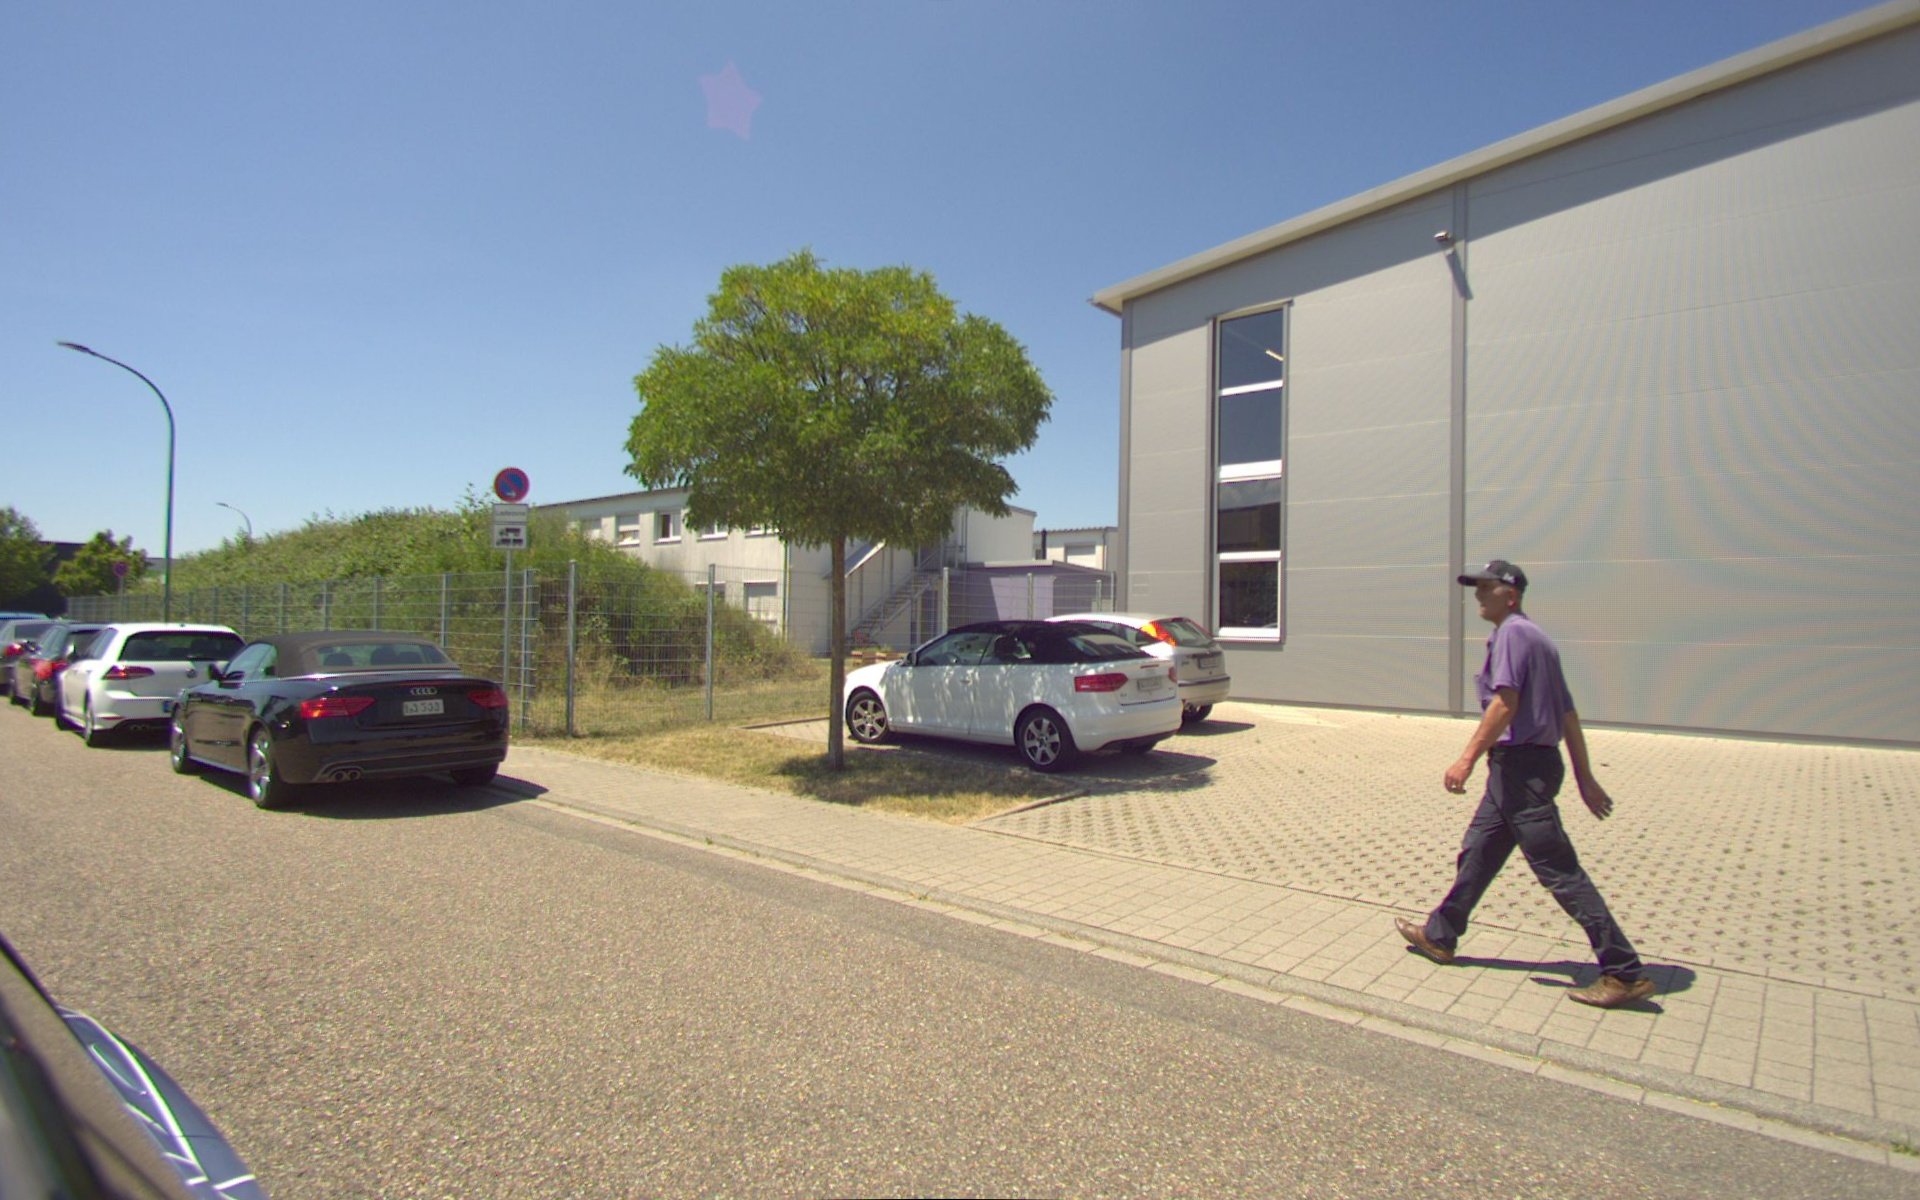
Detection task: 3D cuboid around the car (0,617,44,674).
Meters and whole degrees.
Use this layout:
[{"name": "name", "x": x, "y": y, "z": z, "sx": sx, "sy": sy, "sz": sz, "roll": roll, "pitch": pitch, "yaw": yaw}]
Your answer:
[{"name": "car", "x": -26.643, "y": 1.190, "z": 27.617, "sx": 4.577, "sy": 1.466, "sz": 1.805, "roll": -1, "pitch": -3, "yaw": 40}]

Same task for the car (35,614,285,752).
[{"name": "car", "x": -10.505, "y": 0.966, "z": 13.171, "sx": 4.257, "sy": 1.511, "sz": 1.805, "roll": -1, "pitch": -3, "yaw": 42}]

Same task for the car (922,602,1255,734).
[{"name": "car", "x": 1.621, "y": 0.807, "z": 13.771, "sx": 4.259, "sy": 1.511, "sz": 1.804, "roll": -1, "pitch": 0, "yaw": 43}]

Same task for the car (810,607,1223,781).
[{"name": "car", "x": 0.450, "y": 0.845, "z": 10.940, "sx": 4.328, "sy": 1.511, "sz": 1.804, "roll": -1, "pitch": -1, "yaw": 43}]

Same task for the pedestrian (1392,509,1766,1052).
[{"name": "pedestrian", "x": 2.454, "y": 0.607, "z": 4.049, "sx": 1.135, "sy": 1.815, "sz": 0.736, "roll": -1, "pitch": -1, "yaw": 43}]

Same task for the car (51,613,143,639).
[{"name": "car", "x": -54.918, "y": 1.666, "z": 64.490, "sx": 1.779, "sy": 1.613, "sz": 4.225, "roll": 0, "pitch": -1, "yaw": 40}]

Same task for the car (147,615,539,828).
[{"name": "car", "x": -5.884, "y": 0.924, "z": 9.406, "sx": 4.524, "sy": 1.511, "sz": 1.805, "roll": -1, "pitch": -3, "yaw": 41}]

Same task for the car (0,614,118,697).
[{"name": "car", "x": -18.709, "y": 1.074, "z": 20.531, "sx": 4.518, "sy": 1.511, "sz": 1.805, "roll": -1, "pitch": -3, "yaw": 42}]

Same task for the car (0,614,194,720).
[{"name": "car", "x": -14.266, "y": 1.010, "z": 16.632, "sx": 4.518, "sy": 1.511, "sz": 1.805, "roll": -1, "pitch": -3, "yaw": 42}]

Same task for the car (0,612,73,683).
[{"name": "car", "x": -22.794, "y": 1.091, "z": 24.134, "sx": 4.383, "sy": 1.582, "sz": 1.805, "roll": -1, "pitch": -3, "yaw": 40}]
